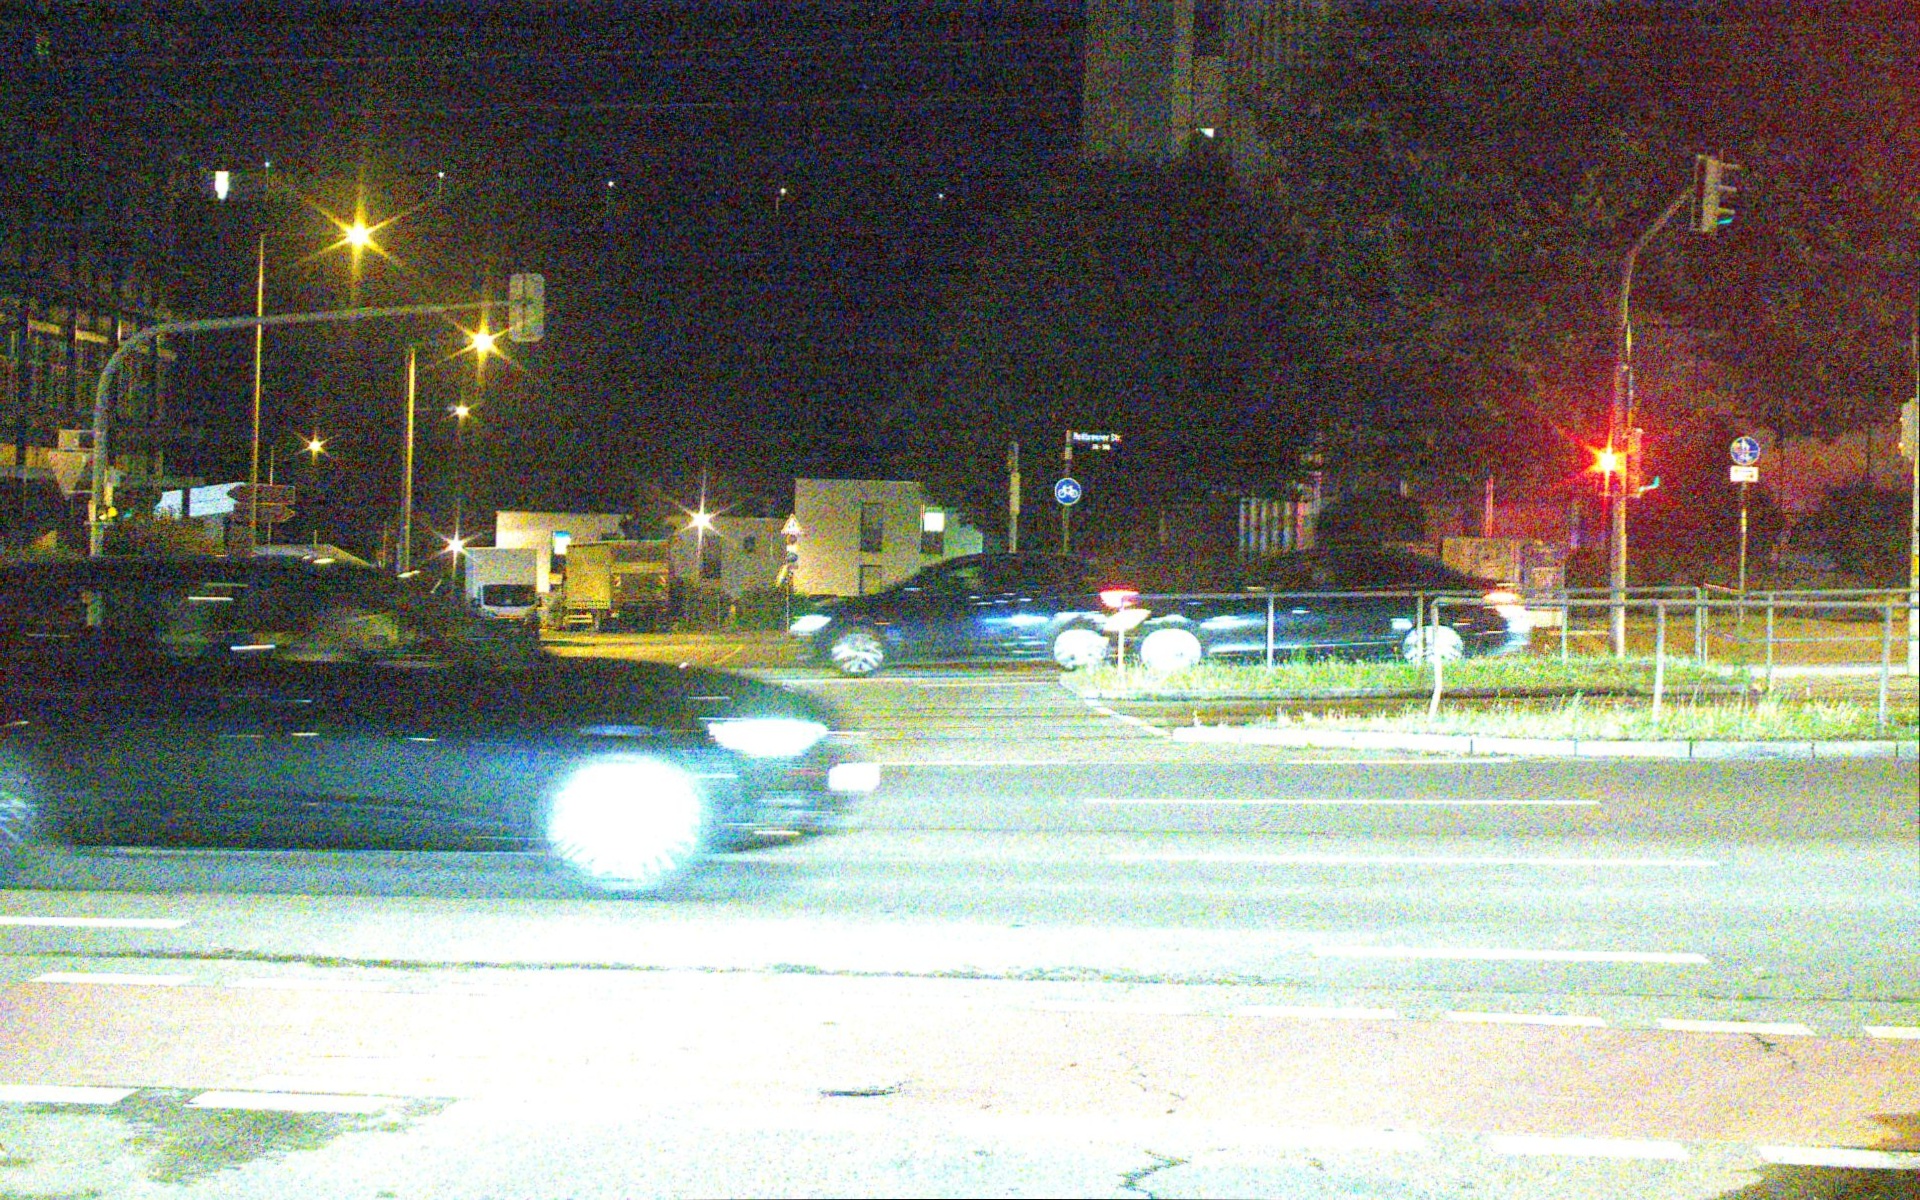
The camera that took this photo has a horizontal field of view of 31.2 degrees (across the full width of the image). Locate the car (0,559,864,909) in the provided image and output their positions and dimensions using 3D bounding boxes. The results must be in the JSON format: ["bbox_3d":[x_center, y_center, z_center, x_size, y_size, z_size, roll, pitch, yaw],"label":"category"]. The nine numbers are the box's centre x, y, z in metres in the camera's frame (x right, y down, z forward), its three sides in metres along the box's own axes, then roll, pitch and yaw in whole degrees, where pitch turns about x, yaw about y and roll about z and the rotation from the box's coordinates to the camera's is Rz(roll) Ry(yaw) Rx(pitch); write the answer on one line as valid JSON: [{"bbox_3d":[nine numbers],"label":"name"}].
[{"bbox_3d":[-2.965,0.564,15.684,4.921,1.468,1.745,0,2,3],"label":"car"}]

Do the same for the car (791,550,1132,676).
[{"bbox_3d":[0.054,0.146,40.161,3.871,1.400,1.769,-1,0,3],"label":"car"}]

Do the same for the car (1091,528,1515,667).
[{"bbox_3d":[3.661,-0.032,37.160,4.427,1.415,1.851,-1,0,3],"label":"car"}]

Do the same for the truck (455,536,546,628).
[{"bbox_3d":[-16.041,-0.609,119.712,2.417,3.078,6.439,1,0,-14],"label":"truck"}]

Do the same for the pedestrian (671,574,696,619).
[{"bbox_3d":[-11.876,-0.143,147.606,0.849,1.905,1.007,1,0,-18],"label":"pedestrian"}]

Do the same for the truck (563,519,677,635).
[{"bbox_3d":[-14.775,-0.983,148.855,3.359,4.826,7.908,1,0,-17],"label":"truck"}]
